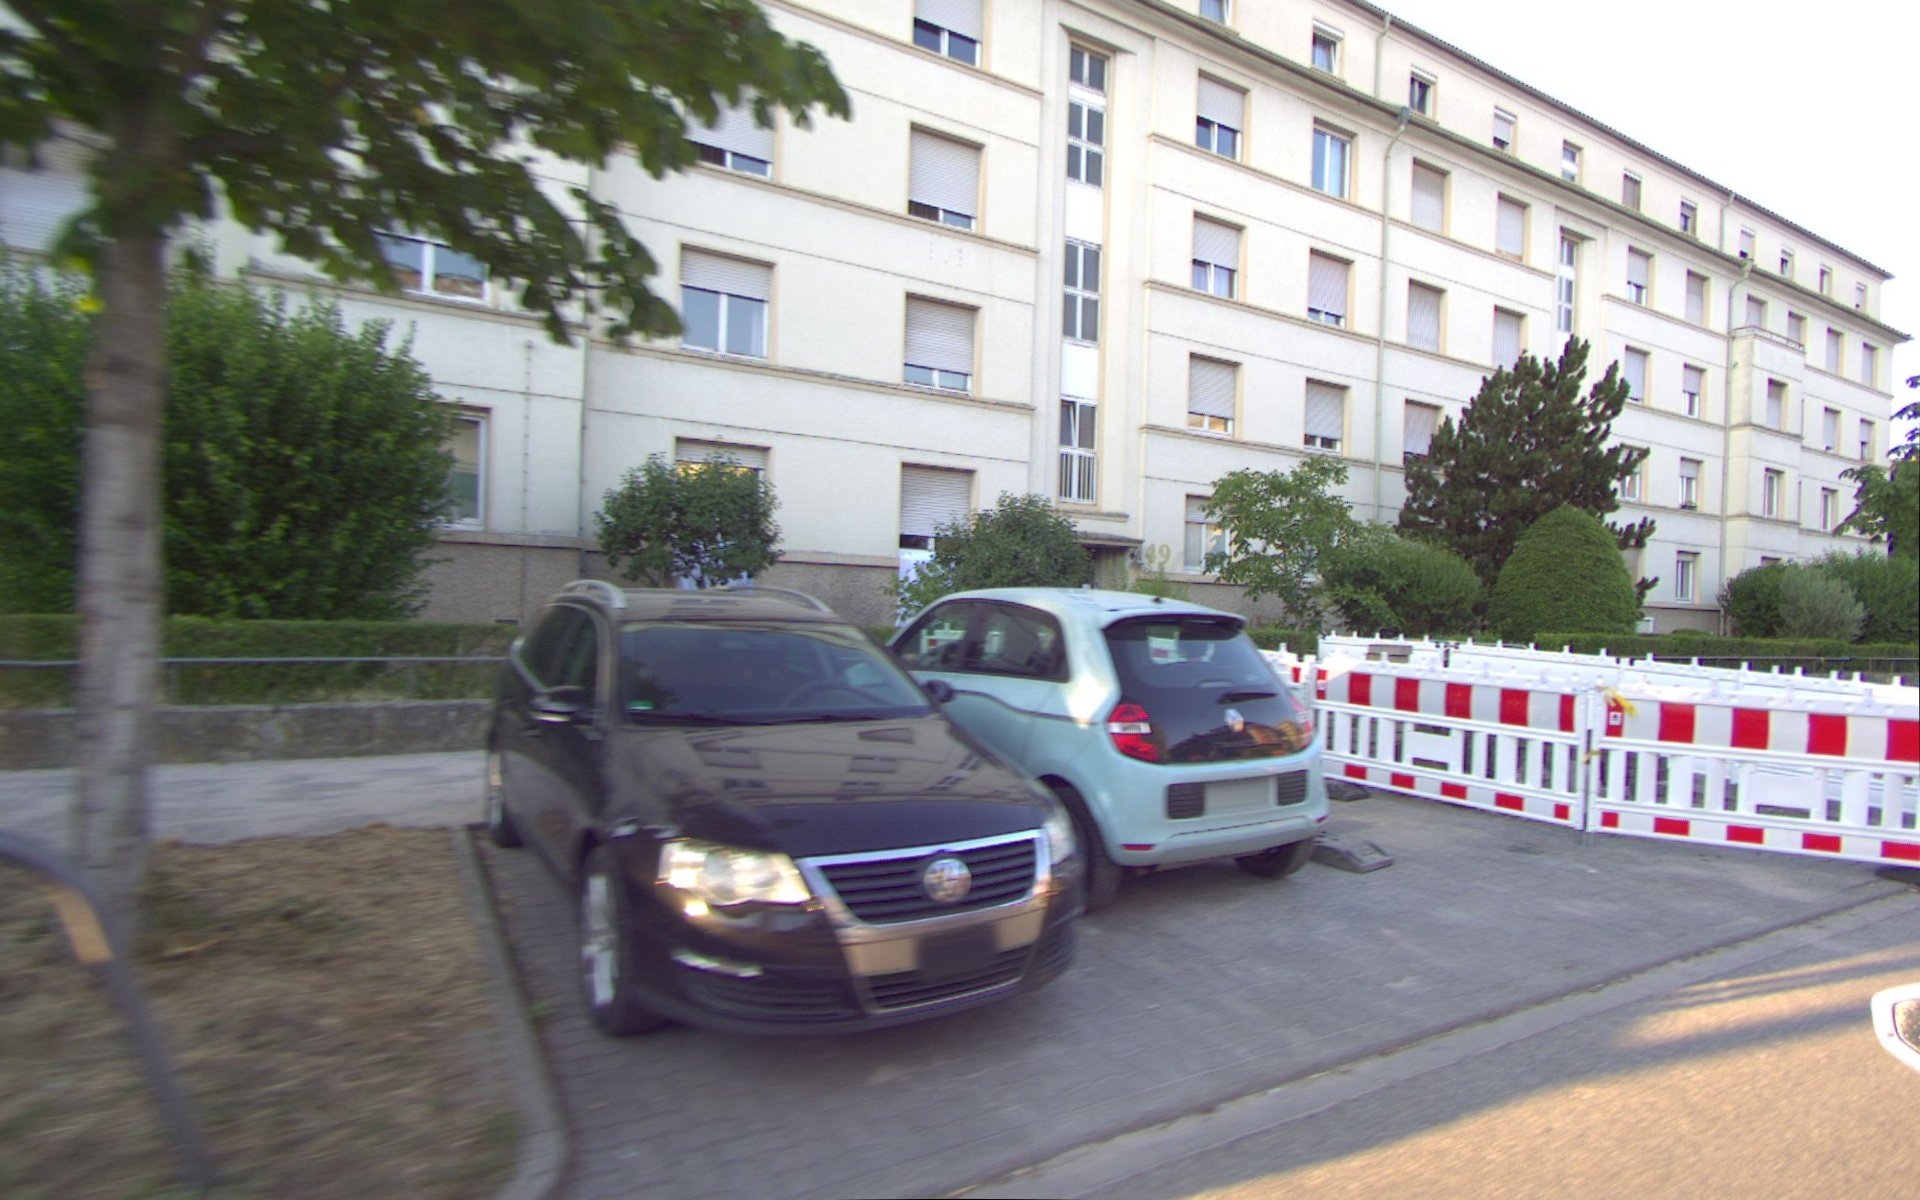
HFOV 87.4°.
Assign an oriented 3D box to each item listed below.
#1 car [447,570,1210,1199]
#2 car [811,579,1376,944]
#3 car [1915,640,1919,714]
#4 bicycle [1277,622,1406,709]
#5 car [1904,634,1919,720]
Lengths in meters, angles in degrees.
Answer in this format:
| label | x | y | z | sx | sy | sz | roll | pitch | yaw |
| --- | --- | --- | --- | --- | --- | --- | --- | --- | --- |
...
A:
| label | x | y | z | sx | sy | sz | roll | pitch | yaw |
| --- | --- | --- | --- | --- | --- | --- | --- | --- | --- |
| car | -1.139 | 0.690 | 4.836 | 1.711 | 1.504 | 4.476 | 2 | 2 | -36 |
| car | 0.500 | 0.695 | 6.389 | 1.707 | 1.504 | 3.684 | 2 | 2 | -28 |
| car | 19.994 | 1.544 | 18.089 | 1.707 | 1.504 | 3.662 | 3 | 0 | -28 |
| bicycle | 6.054 | 1.009 | 16.069 | 0.534 | 1.202 | 2.019 | 2 | 1 | -29 |
| car | 18.011 | 1.423 | 16.213 | 1.707 | 1.464 | 3.662 | 3 | 0 | -28 |
